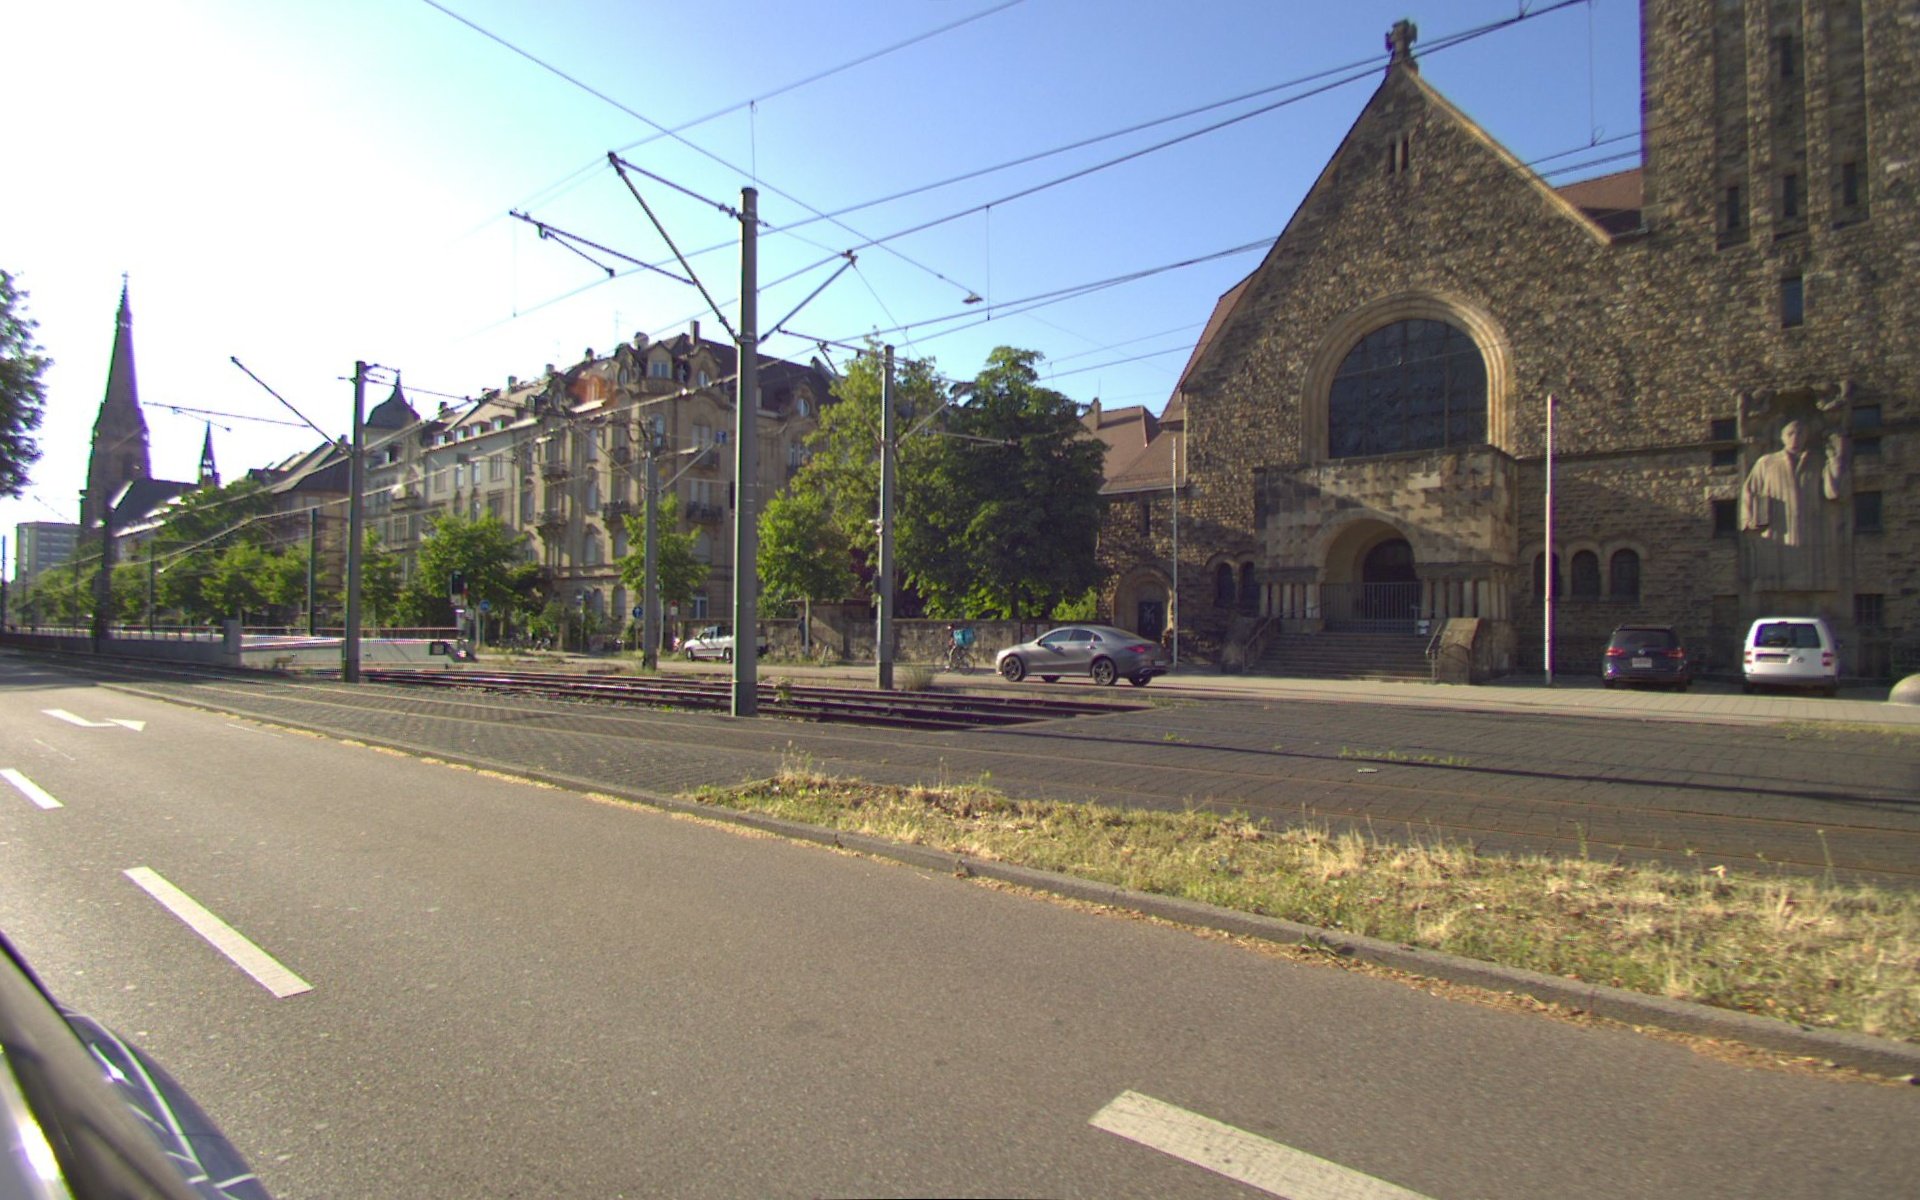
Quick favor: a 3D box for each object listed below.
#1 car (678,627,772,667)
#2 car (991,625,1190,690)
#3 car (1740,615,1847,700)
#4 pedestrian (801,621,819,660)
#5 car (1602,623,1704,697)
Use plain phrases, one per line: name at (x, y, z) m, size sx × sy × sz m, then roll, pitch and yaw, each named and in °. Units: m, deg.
car at (-10.029, 1.962, 43.025) m, size 4.212 × 1.541 × 1.763 m, roll -1°, pitch 0°, yaw 41°
car at (3.159, 1.377, 25.003) m, size 4.552 × 1.438 × 1.973 m, roll -1°, pitch -3°, yaw 41°
car at (20.354, 1.318, 24.705) m, size 1.869 × 1.819 × 3.973 m, roll -1°, pitch 0°, yaw 40°
pedestrian at (-6.300, 1.691, 42.512) m, size 0.641 × 1.633 × 0.469 m, roll -1°, pitch 0°, yaw -16°
car at (18.058, 1.485, 26.292) m, size 1.767 × 1.642 × 3.989 m, roll -1°, pitch 0°, yaw 40°
